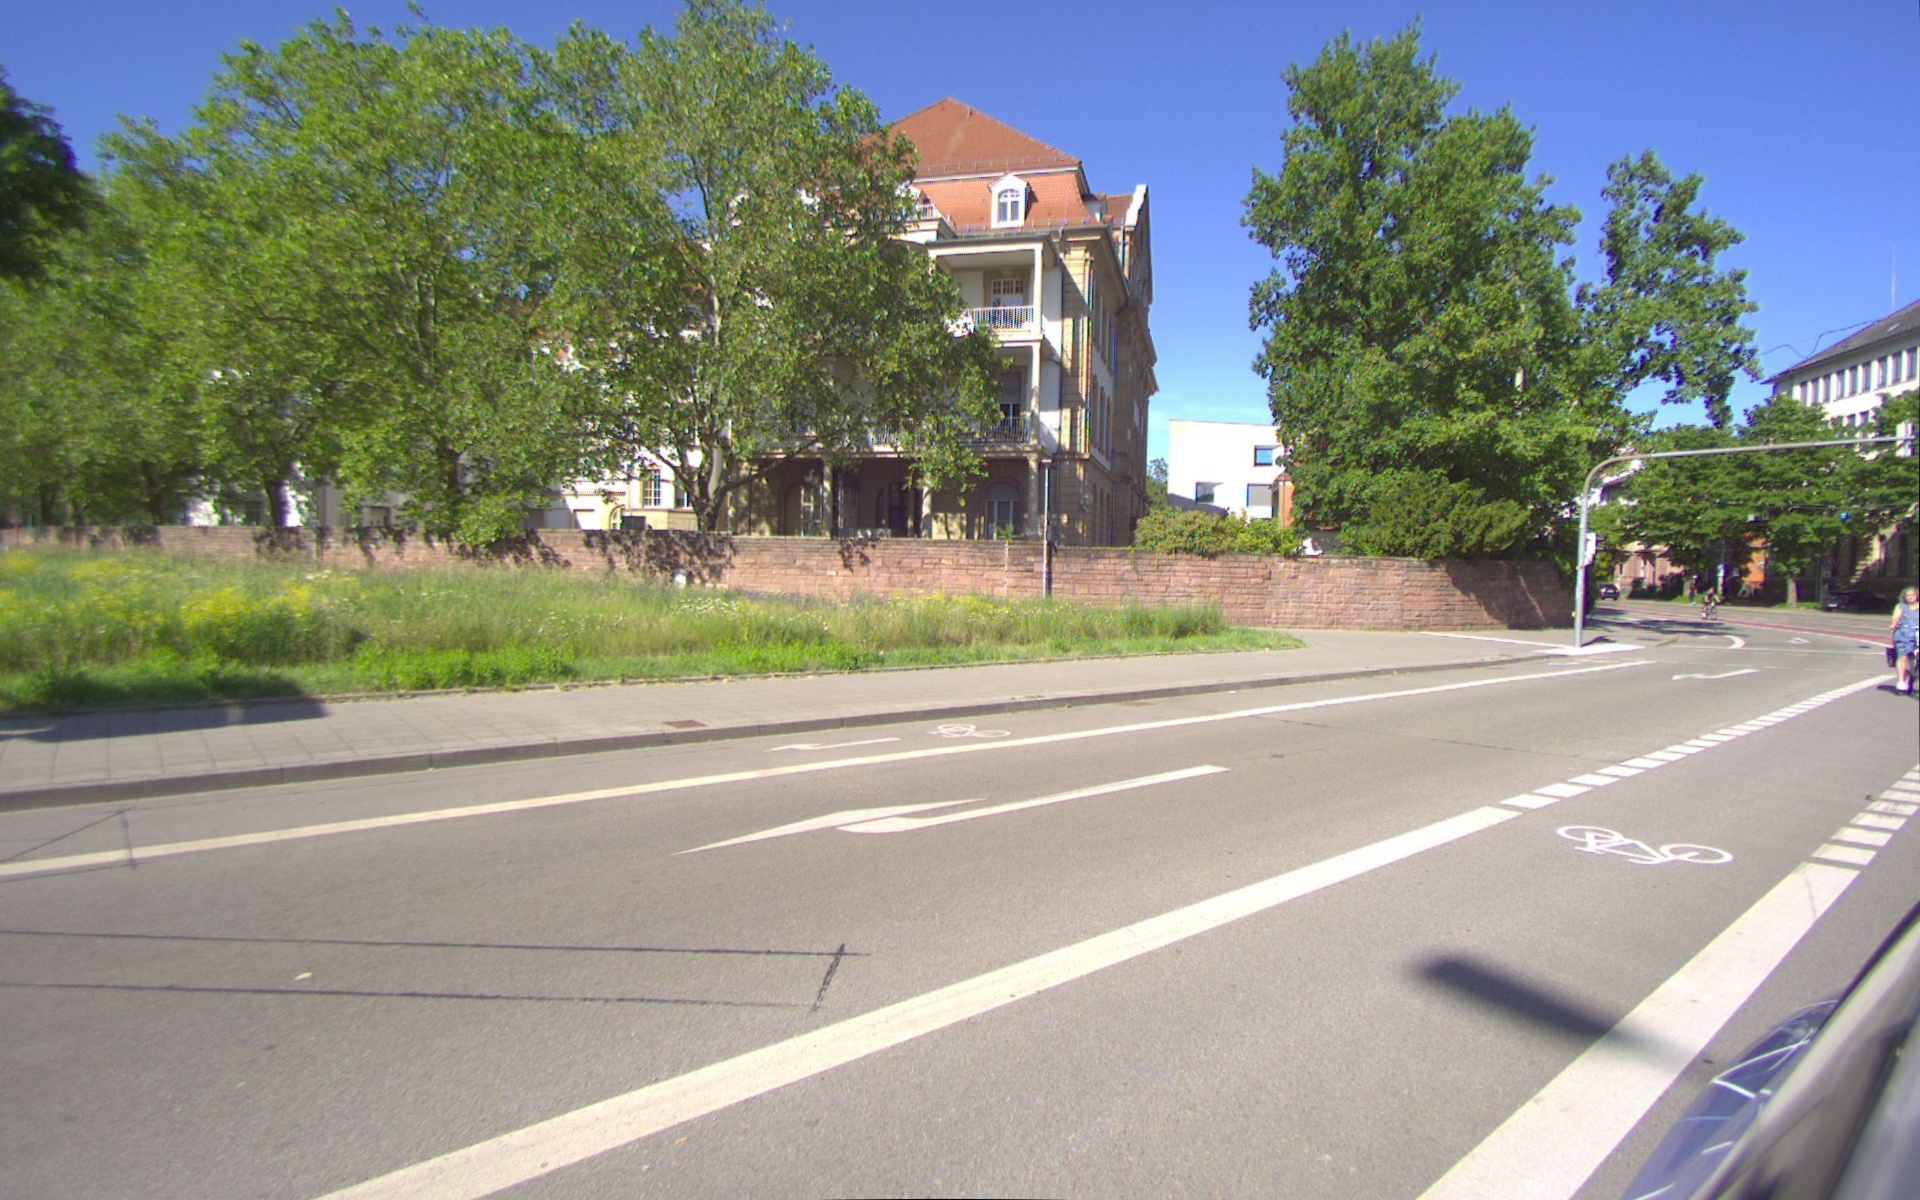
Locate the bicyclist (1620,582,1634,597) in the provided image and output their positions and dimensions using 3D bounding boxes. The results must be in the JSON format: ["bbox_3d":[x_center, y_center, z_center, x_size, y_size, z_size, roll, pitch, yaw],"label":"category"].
[{"bbox_3d":[62.745,-0.974,95.251,0.720,1.402,0.895,1,1,3],"label":"bicyclist"}]

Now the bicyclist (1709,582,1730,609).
[{"bbox_3d":[38.818,-0.228,51.710,0.764,1.333,0.711,0,1,-40],"label":"bicyclist"}]

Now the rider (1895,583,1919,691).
[{"bbox_3d":[14.982,0.559,15.635,0.971,1.640,0.658,0,1,-41],"label":"rider"}]

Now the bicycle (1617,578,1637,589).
[{"bbox_3d":[62.747,-1.536,95.170,0.720,1.003,1.834,1,2,3],"label":"bicycle"}]

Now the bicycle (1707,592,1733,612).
[{"bbox_3d":[38.931,0.083,51.826,1.723,1.018,0.711,0,1,-41],"label":"bicycle"}]

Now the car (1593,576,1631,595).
[{"bbox_3d":[58.144,-1.333,90.297,1.772,1.517,4.548,3,3,19],"label":"car"}]

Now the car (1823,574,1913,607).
[{"bbox_3d":[61.209,-0.644,68.241,4.615,2.038,2.004,1,2,-9],"label":"car"}]
